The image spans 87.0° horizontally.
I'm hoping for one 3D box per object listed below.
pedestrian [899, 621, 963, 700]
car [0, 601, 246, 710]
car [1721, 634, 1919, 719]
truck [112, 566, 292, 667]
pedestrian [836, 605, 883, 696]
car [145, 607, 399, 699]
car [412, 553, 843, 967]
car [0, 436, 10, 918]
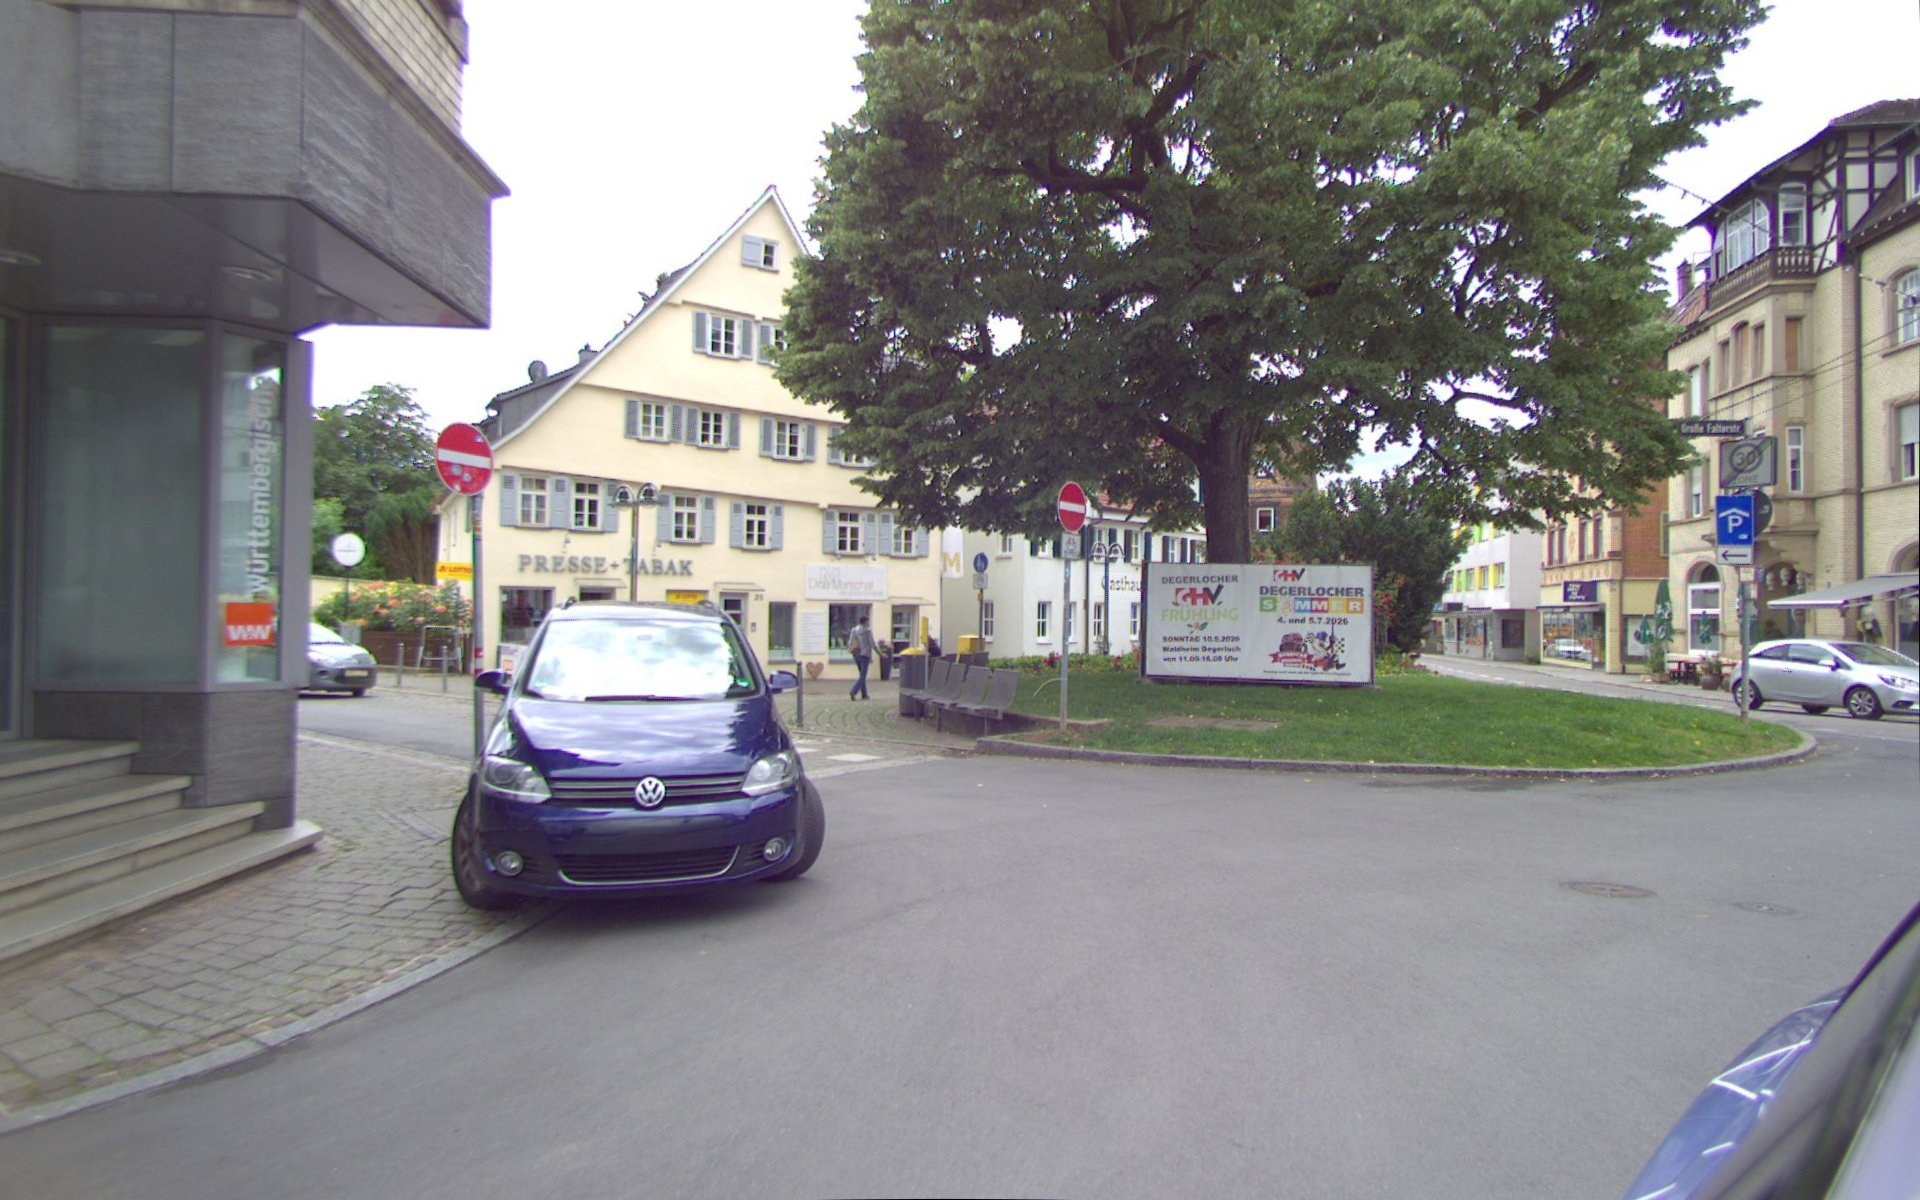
[{"bbox_3d":[-0.516,1.091,18.559,0.848,1.398,0.967,-1,-2,24],"label":"pedestrian"},{"bbox_3d":[-13.838,0.876,16.662,4.355,1.567,2.096,-2,-3,36],"label":"car"},{"bbox_3d":[16.930,1.361,19.189,1.721,1.372,4.003,0,-1,-5],"label":"car"},{"bbox_3d":[-22.452,0.497,29.942,5.261,2.726,2.805,-1,-2,36],"label":"truck"},{"bbox_3d":[-2.006,0.994,20.112,0.779,1.767,0.713,1,-2,-20],"label":"pedestrian"},{"bbox_3d":[-13.066,0.964,19.295,3.948,1.535,1.776,1,-1,13],"label":"car"},{"bbox_3d":[-2.118,0.685,6.448,1.823,1.725,4.030,-1,-1,-20],"label":"car"},{"bbox_3d":[-3.578,0.630,0.642,1.823,1.815,4.157,-1,-1,40],"label":"car"}]
